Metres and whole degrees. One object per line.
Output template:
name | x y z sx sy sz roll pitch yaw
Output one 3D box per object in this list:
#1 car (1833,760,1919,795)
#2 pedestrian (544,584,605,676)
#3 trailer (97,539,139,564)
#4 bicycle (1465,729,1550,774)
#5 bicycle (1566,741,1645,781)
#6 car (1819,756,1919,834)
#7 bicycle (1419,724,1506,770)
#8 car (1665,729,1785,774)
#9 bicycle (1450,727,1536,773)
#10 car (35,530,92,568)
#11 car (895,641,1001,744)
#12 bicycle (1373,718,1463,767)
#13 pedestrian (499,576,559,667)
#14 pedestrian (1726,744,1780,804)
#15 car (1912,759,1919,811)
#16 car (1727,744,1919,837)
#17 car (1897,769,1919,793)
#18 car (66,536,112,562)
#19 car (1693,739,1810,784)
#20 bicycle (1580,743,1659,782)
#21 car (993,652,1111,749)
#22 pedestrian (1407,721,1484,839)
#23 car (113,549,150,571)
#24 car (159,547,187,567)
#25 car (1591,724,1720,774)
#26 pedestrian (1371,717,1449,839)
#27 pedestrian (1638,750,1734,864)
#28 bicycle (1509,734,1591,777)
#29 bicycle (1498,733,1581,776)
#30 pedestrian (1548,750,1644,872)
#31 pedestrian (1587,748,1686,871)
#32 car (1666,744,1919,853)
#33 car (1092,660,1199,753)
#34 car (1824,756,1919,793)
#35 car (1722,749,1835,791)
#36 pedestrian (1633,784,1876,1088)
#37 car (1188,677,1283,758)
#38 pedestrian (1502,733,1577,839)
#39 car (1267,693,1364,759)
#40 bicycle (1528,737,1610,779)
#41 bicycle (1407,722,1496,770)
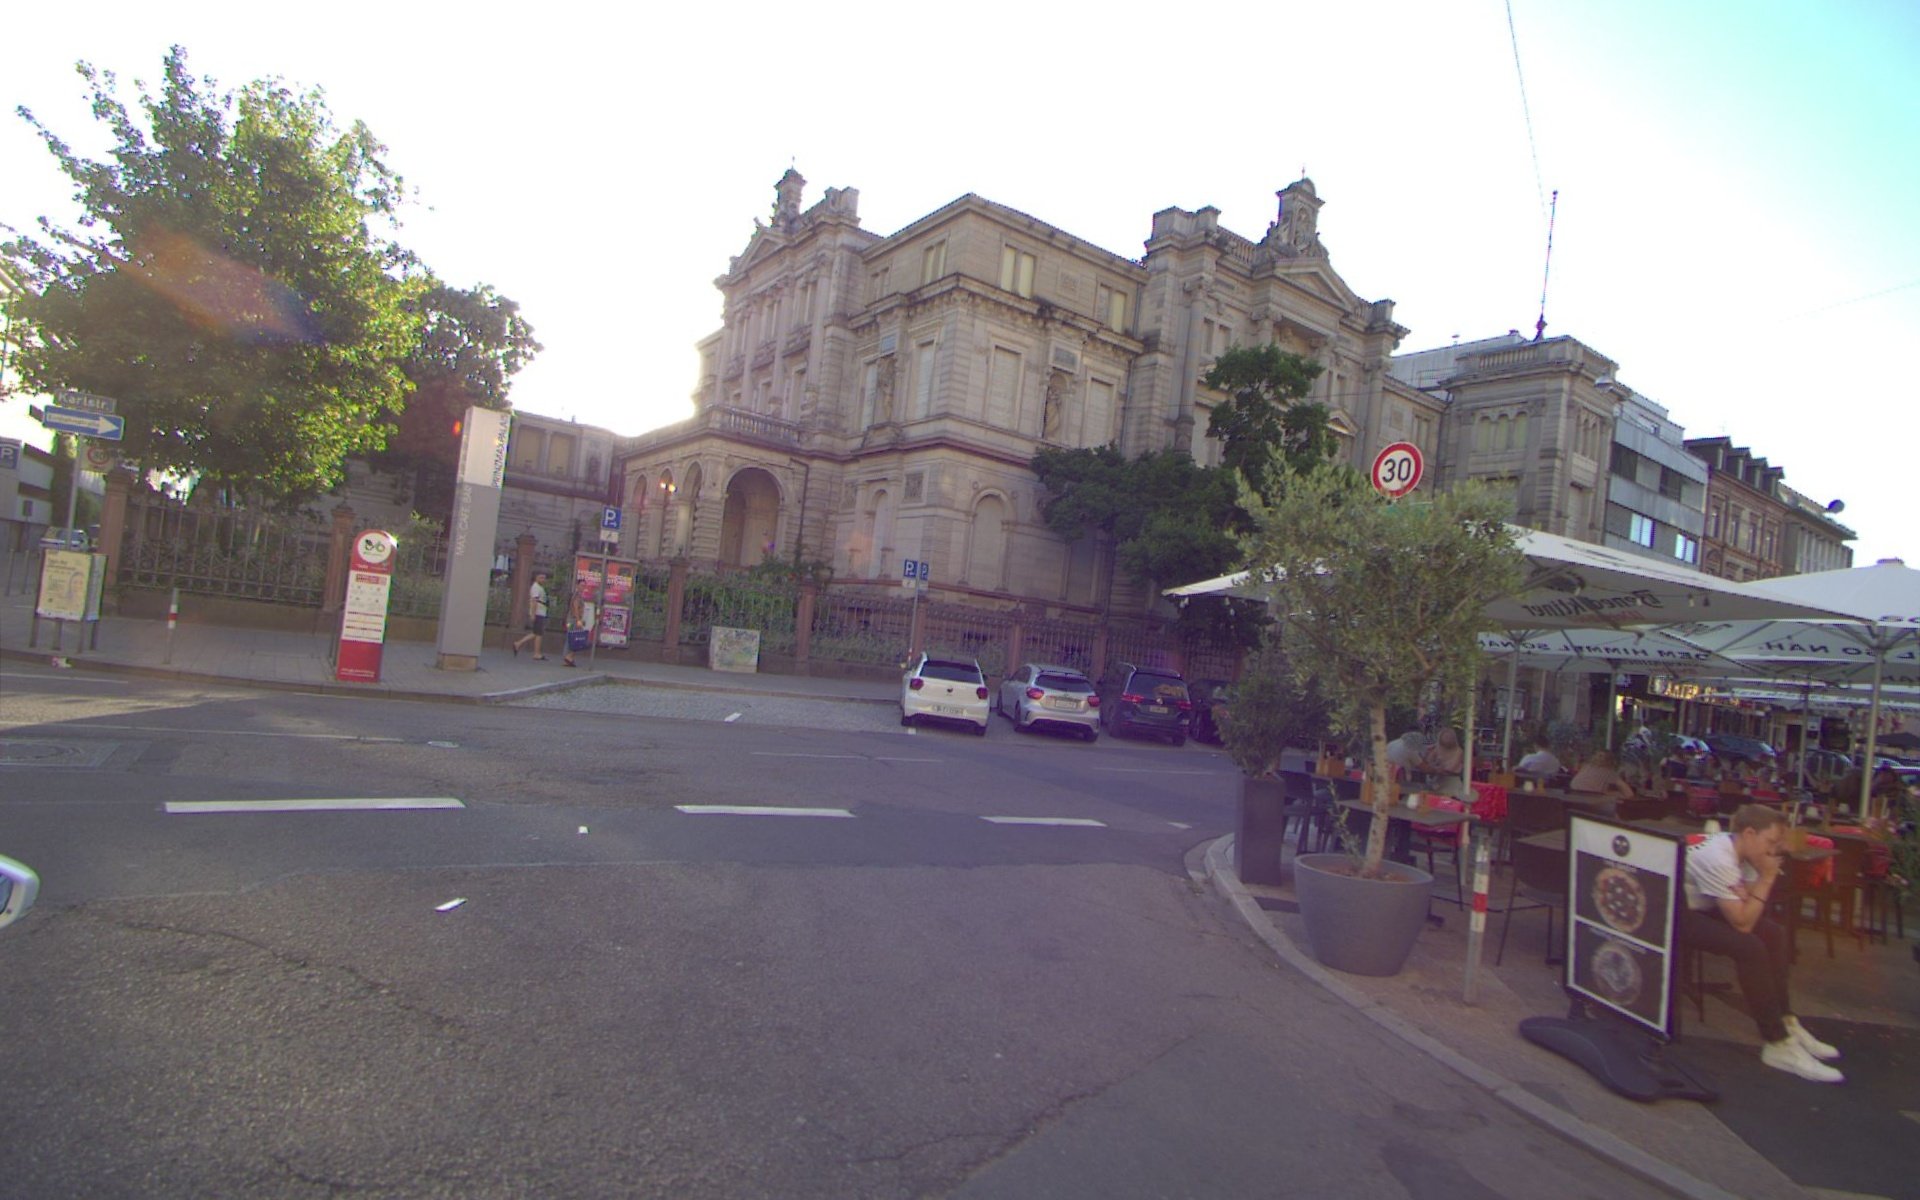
car | 54.873 10.599 59.905 1.739 1.428 3.968 9 -4 -33
pedestrian | -7.540 0.589 19.685 0.633 1.689 0.702 7 -1 42
trailer | -65.006 -3.710 77.697 1.983 1.574 3.965 9 -4 -35
bicycle | 17.907 4.943 32.931 0.711 1.102 2.279 9 -4 -37
bicycle | 23.652 5.901 36.917 0.711 1.102 2.279 9 -4 -37
car | 21.724 4.472 22.032 3.995 1.428 1.757 6 -3 23
bicycle | 15.600 4.556 31.299 0.711 1.102 2.279 9 -4 -37
car | 34.942 6.890 46.022 1.739 1.428 3.968 9 -4 -33
bicycle | 17.154 4.818 32.421 0.711 1.102 2.279 9 -4 -37
car | -53.904 -3.017 60.547 1.874 1.933 4.704 8 -3 -35
car | -0.350 1.827 20.908 1.724 1.465 3.903 7 2 -6
bicycle | 13.416 4.176 29.540 0.711 1.102 2.279 9 -4 -37
pedestrian | -8.585 0.438 20.059 0.633 1.689 0.702 7 -1 42
pedestrian | 25.783 5.647 32.712 0.993 1.770 0.966 8 -2 -32
car | 28.924 5.380 27.284 4.069 1.428 1.757 6 -3 23
car | 18.892 4.045 21.096 4.032 1.428 1.757 6 -3 23
car | 65.387 12.308 67.011 1.739 1.428 3.968 9 -4 -33
car | -60.450 -3.507 69.857 1.873 1.469 3.964 9 -3 -35
car | 37.556 7.653 47.827 1.739 1.428 3.968 9 -4 -33
bicycle | 24.604 6.060 37.571 0.711 1.102 2.279 9 -4 -37
car | 1.937 2.151 22.450 1.724 1.544 3.995 7 0 -6
pedestrian | 5.839 2.146 12.128 0.589 1.260 0.687 7 -2 16
car | -67.473 -3.254 81.948 1.873 1.469 3.964 9 -3 -35
car | -86.000 -4.678 109.978 1.982 1.702 3.967 9 -4 -33
car | 28.849 6.161 41.832 1.739 1.428 3.968 9 -4 -33
pedestrian | 5.176 2.032 11.609 0.589 1.260 0.687 7 -2 16
pedestrian | 9.052 2.569 12.554 0.676 1.260 0.599 8 -2 -19
bicycle | 20.243 5.334 34.573 0.711 1.102 2.279 9 -4 -37
bicycle | 19.584 5.219 34.047 0.711 1.102 2.279 9 -4 -37
pedestrian | 6.953 2.301 11.003 0.567 1.202 0.596 8 -2 -31
pedestrian | 7.688 2.372 11.437 0.679 1.260 0.596 8 -2 -31
car | 16.350 3.807 19.480 3.995 1.428 1.757 6 -3 23
car | 4.323 2.445 24.025 1.722 1.741 4.003 7 -2 2
car | 52.536 10.028 57.842 1.728 1.428 3.992 8 -3 -15
car | 40.767 8.447 50.188 1.739 1.428 3.968 9 -4 -33
pedestrian | 3.911 1.603 5.022 0.809 1.202 0.606 6 -2 35
car | 6.764 2.852 25.039 1.722 1.625 4.008 6 -3 10
pedestrian | 7.687 2.452 13.374 0.589 1.260 0.687 7 -2 16
car | 9.743 3.427 27.869 1.722 1.428 4.008 6 -3 10
bicycle | 21.249 5.493 35.142 0.711 1.102 2.279 9 -4 -37
bicycle | 14.966 4.440 30.694 0.711 1.102 2.279 9 -4 -37
